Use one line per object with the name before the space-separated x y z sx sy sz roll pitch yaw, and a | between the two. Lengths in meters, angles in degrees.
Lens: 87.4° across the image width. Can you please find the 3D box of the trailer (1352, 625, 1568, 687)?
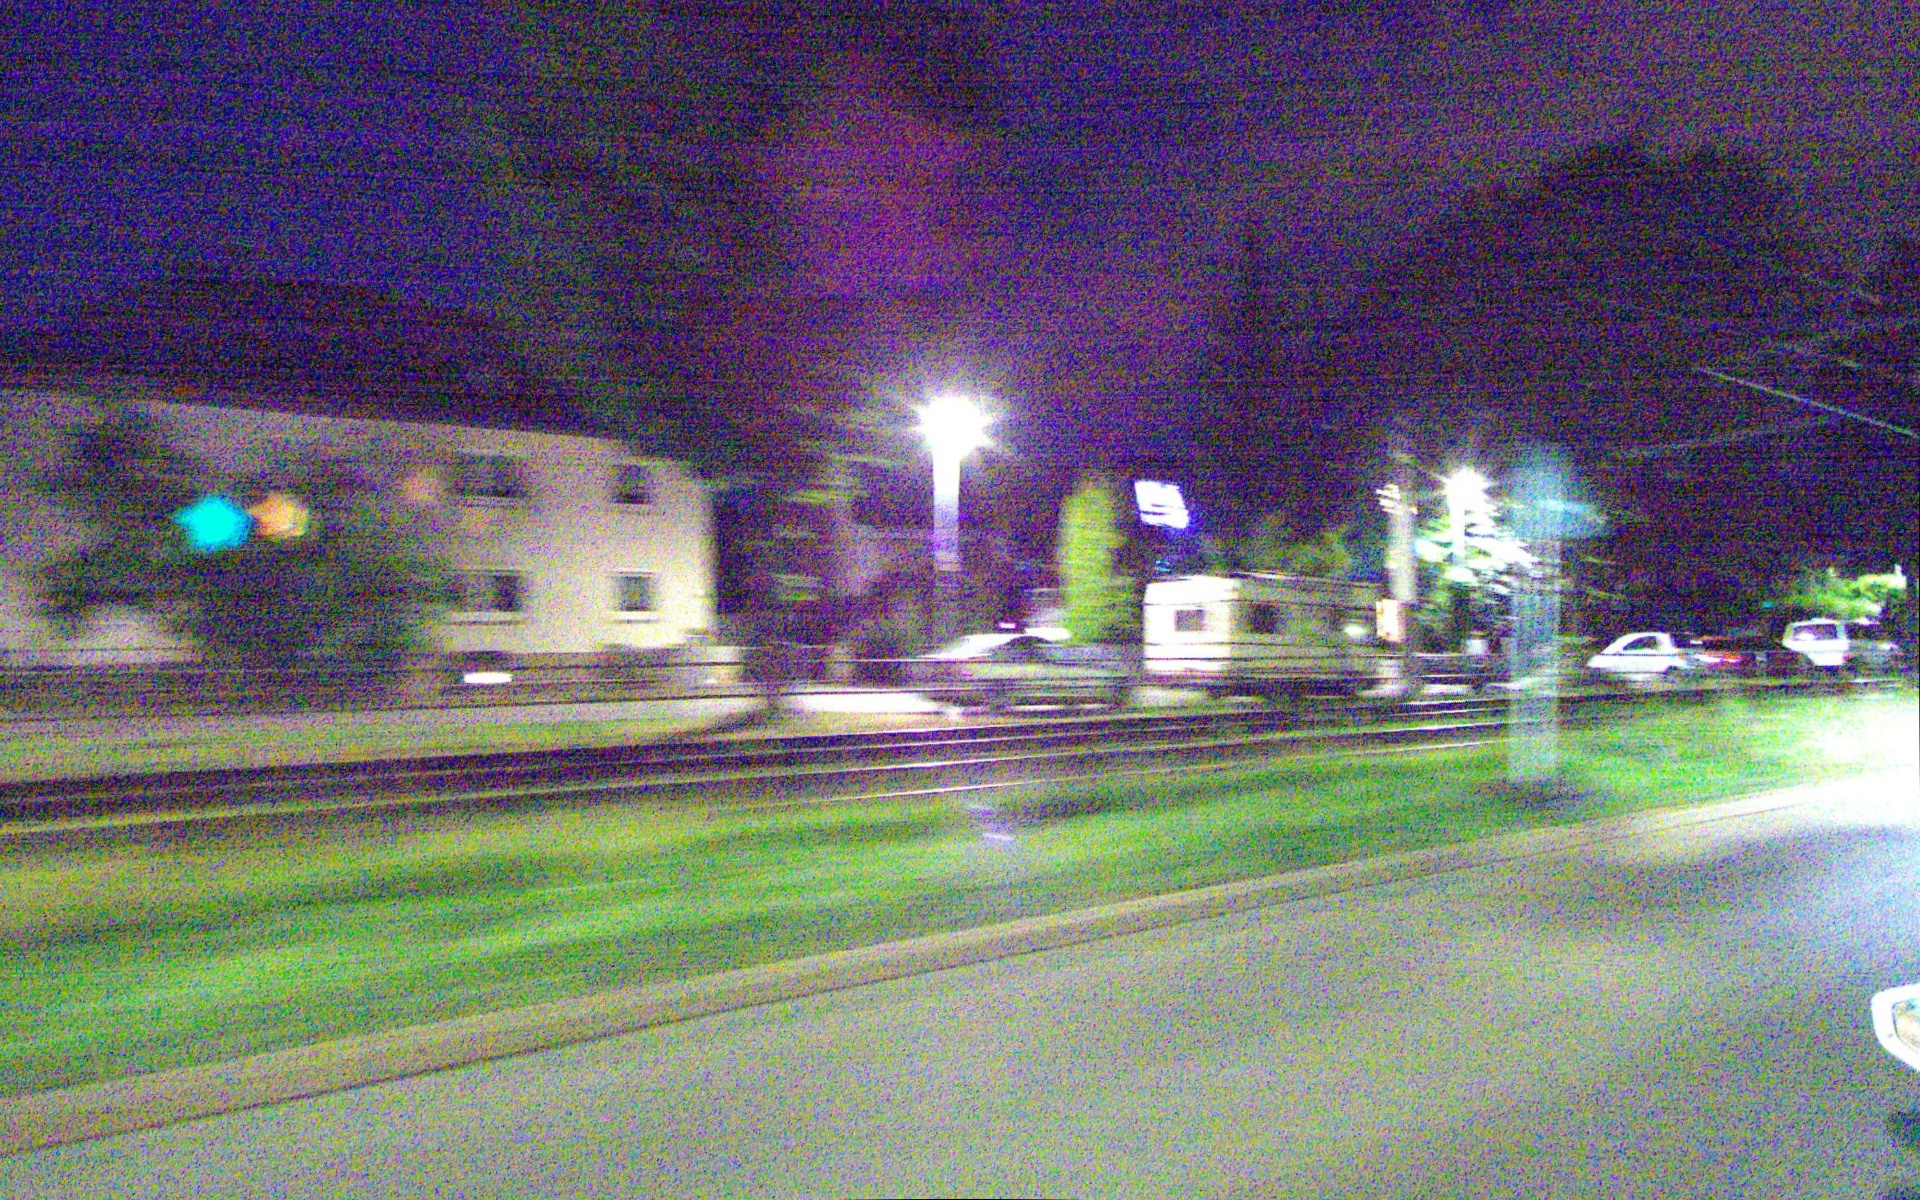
trailer | 12.414 1.407 24.967 4.590 1.392 2.415 1 -5 -24

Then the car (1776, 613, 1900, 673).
car | 30.038 1.452 34.327 4.824 1.929 1.848 1 -1 -31

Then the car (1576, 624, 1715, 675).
car | 19.833 1.398 29.150 1.517 1.343 3.011 1 -1 -33

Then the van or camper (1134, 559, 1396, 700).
van or camper | 6.592 0.663 21.500 5.603 2.682 2.260 1 -3 -33

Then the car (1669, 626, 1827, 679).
car | 24.737 1.617 31.499 5.103 1.542 1.896 1 -1 -26

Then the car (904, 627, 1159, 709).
car | 1.349 1.231 18.384 4.488 1.356 1.639 1 -5 -30
